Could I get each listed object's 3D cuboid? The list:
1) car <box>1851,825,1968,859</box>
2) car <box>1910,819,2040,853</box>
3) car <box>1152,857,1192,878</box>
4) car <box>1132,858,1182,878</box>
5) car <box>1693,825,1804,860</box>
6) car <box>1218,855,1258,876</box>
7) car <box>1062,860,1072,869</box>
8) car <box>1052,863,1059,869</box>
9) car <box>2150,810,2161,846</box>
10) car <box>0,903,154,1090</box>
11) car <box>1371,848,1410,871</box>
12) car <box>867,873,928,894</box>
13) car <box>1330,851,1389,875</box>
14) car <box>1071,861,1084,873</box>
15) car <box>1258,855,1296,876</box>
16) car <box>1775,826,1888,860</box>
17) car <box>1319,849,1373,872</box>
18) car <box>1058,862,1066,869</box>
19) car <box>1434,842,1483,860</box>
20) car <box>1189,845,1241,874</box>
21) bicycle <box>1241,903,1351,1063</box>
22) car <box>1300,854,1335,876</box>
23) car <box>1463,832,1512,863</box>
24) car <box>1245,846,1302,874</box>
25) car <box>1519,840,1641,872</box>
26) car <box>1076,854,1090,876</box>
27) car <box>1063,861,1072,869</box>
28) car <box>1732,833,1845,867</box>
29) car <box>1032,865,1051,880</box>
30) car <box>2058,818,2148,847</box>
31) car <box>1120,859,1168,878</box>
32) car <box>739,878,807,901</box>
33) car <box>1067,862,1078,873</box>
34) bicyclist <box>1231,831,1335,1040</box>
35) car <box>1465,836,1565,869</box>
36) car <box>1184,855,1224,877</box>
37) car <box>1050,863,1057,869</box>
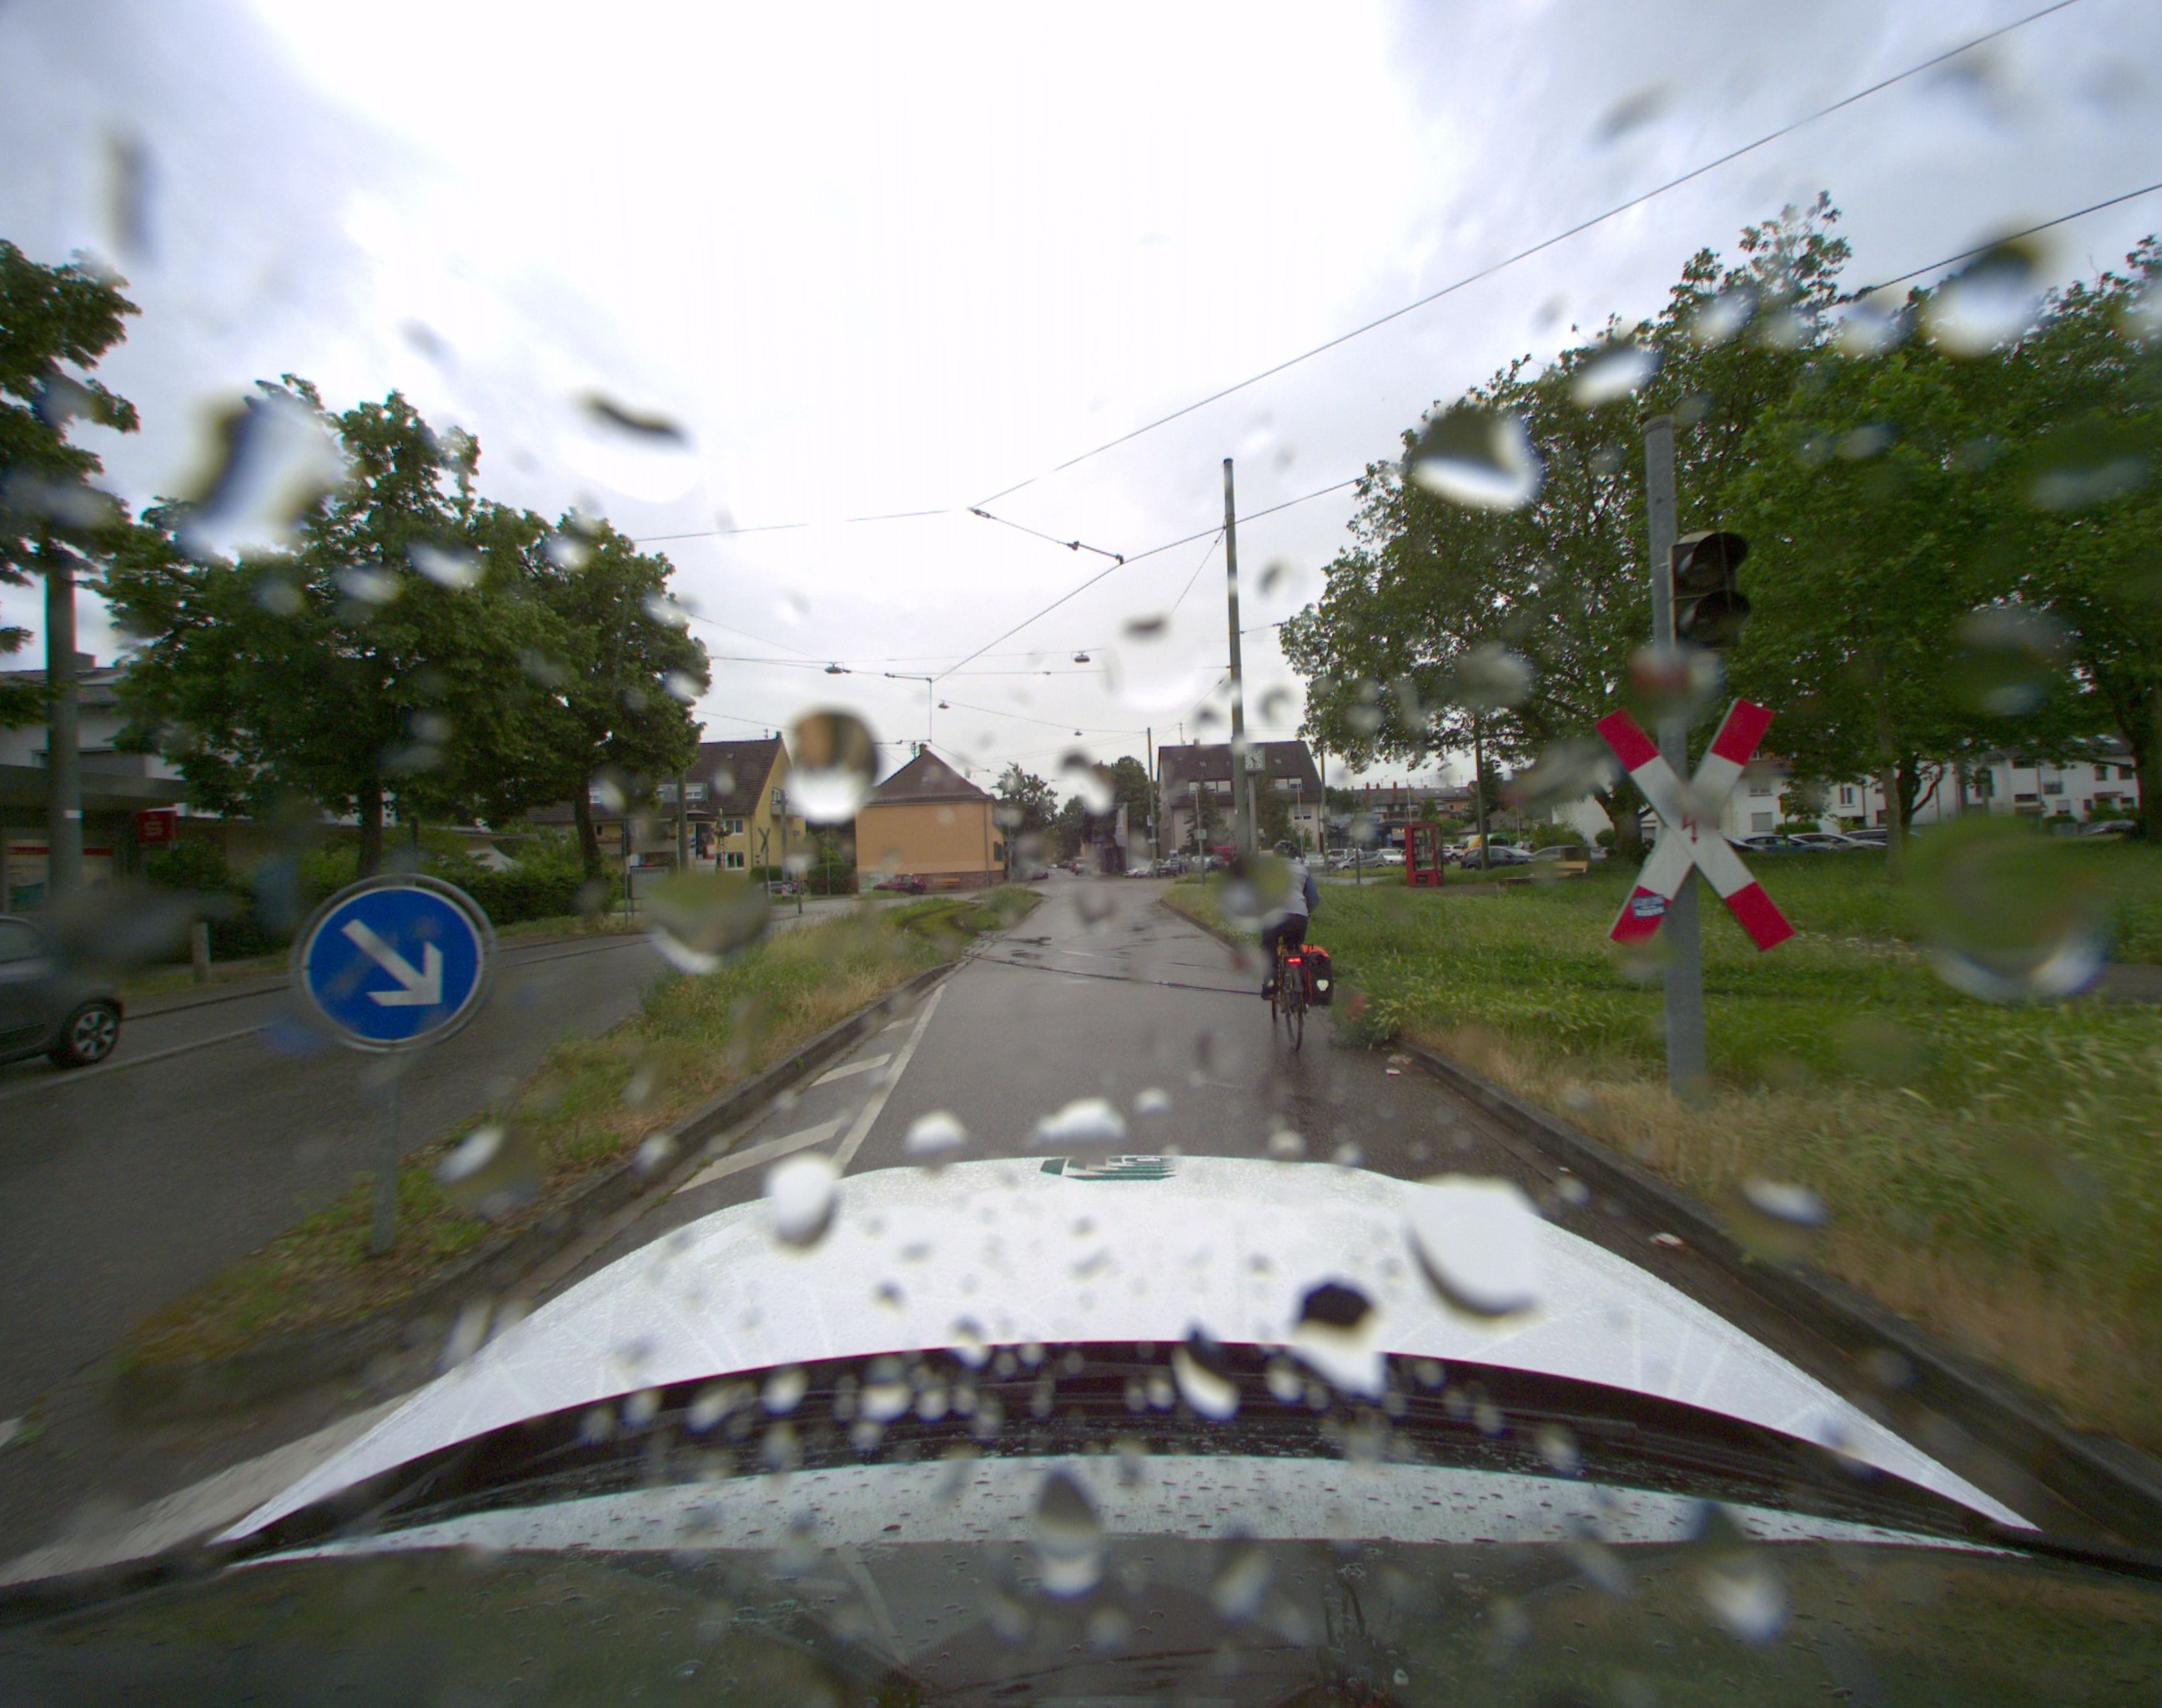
[{"bbox_3d":[39.717,-0.519,39.132,1.820,1.495,3.868,1,-1,-44],"label":"car"},{"bbox_3d":[43.082,-0.827,39.358,1.814,1.495,3.882,0,-1,-26],"label":"car"},{"bbox_3d":[7.518,1.116,66.982,1.975,1.640,4.024,-1,-1,28],"label":"car"},{"bbox_3d":[6.642,1.233,71.111,4.015,1.675,1.979,0,-1,-33],"label":"car"},{"bbox_3d":[31.098,-0.510,38.107,3.865,1.495,1.822,-1,-1,35],"label":"car"},{"bbox_3d":[12.456,0.925,64.375,1.975,1.640,4.024,-1,-1,28],"label":"car"},{"bbox_3d":[-2.706,2.012,159.380,1.798,1.811,4.000,0,-1,1],"label":"car"},{"bbox_3d":[-6.987,3.288,223.419,1.798,1.461,4.000,0,-1,1],"label":"car"},{"bbox_3d":[55.087,-1.323,39.359,1.815,1.765,3.879,0,-1,-29],"label":"car"},{"bbox_3d":[-9.725,1.218,6.312,1.621,1.496,3.646,0,-1,-17],"label":"car"},{"bbox_3d":[24.983,0.456,65.832,1.983,1.791,4.007,-1,-1,7],"label":"car"},{"bbox_3d":[-12.928,2.078,57.568,3.978,1.456,1.831,0,-1,-4],"label":"car"},{"bbox_3d":[20.059,0.661,58.824,3.669,1.701,1.891,0,-1,3],"label":"car"},{"bbox_3d":[-0.546,2.000,122.524,1.798,1.811,4.000,0,-1,1],"label":"car"},{"bbox_3d":[15.572,0.903,64.474,1.975,1.640,4.024,-1,-1,28],"label":"car"},{"bbox_3d":[36.161,-0.489,39.297,1.820,1.495,3.868,1,-1,-44],"label":"car"},{"bbox_3d":[22.718,0.562,69.908,3.973,1.951,2.000,0,-1,0],"label":"car"},{"bbox_3d":[-4.800,2.931,206.130,1.798,1.564,4.000,0,-1,1],"label":"car"},{"bbox_3d":[36.459,-0.250,78.731,3.970,1.640,1.848,0,-1,3],"label":"car"},{"bbox_3d":[12.147,0.533,73.856,4.361,2.566,2.009,-1,-1,17],"label":"car"},{"bbox_3d":[1.687,0.963,6.612,0.444,1.004,1.728,-2,0,2],"label":"bicycle"},{"bbox_3d":[18.809,0.882,64.739,1.823,1.640,4.024,-1,-1,28],"label":"car"},{"bbox_3d":[33.445,-0.514,67.171,1.986,2.443,4.355,0,-1,2],"label":"car"},{"bbox_3d":[16.540,0.557,70.112,4.380,2.325,2.000,0,-1,0],"label":"car"},{"bbox_3d":[20.888,0.111,34.245,3.963,1.285,1.851,-1,-1,9],"label":"car"},{"bbox_3d":[0.260,1.382,102.598,1.798,2.627,4.000,0,-1,1],"label":"car"},{"bbox_3d":[-2.672,2.216,164.240,1.798,1.564,4.000,0,-1,1],"label":"car"},{"bbox_3d":[33.652,-0.151,38.801,1.820,1.495,3.868,1,-1,-44],"label":"car"},{"bbox_3d":[-4.392,2.032,90.402,1.798,1.651,4.000,0,-1,1],"label":"car"},{"bbox_3d":[75.482,-1.585,60.190,3.970,2.036,2.001,0,-1,3],"label":"car"},{"bbox_3d":[5.718,1.308,74.219,4.015,1.643,1.979,0,-1,-33],"label":"car"},{"bbox_3d":[-21.386,2.457,56.646,3.978,1.456,1.831,0,-1,-4],"label":"car"},{"bbox_3d":[-1.481,2.334,142.069,1.798,1.811,4.000,0,-1,1],"label":"car"},{"bbox_3d":[1.659,0.642,6.805,0.664,1.626,0.853,0,-1,1],"label":"bicyclist"},{"bbox_3d":[20.827,-0.045,39.194,1.820,1.495,3.868,1,-1,-44],"label":"car"},{"bbox_3d":[9.943,0.965,65.643,1.975,1.640,4.024,-1,-1,28],"label":"car"},{"bbox_3d":[-7.793,3.383,228.747,1.798,1.461,4.000,0,-1,1],"label":"car"}]
